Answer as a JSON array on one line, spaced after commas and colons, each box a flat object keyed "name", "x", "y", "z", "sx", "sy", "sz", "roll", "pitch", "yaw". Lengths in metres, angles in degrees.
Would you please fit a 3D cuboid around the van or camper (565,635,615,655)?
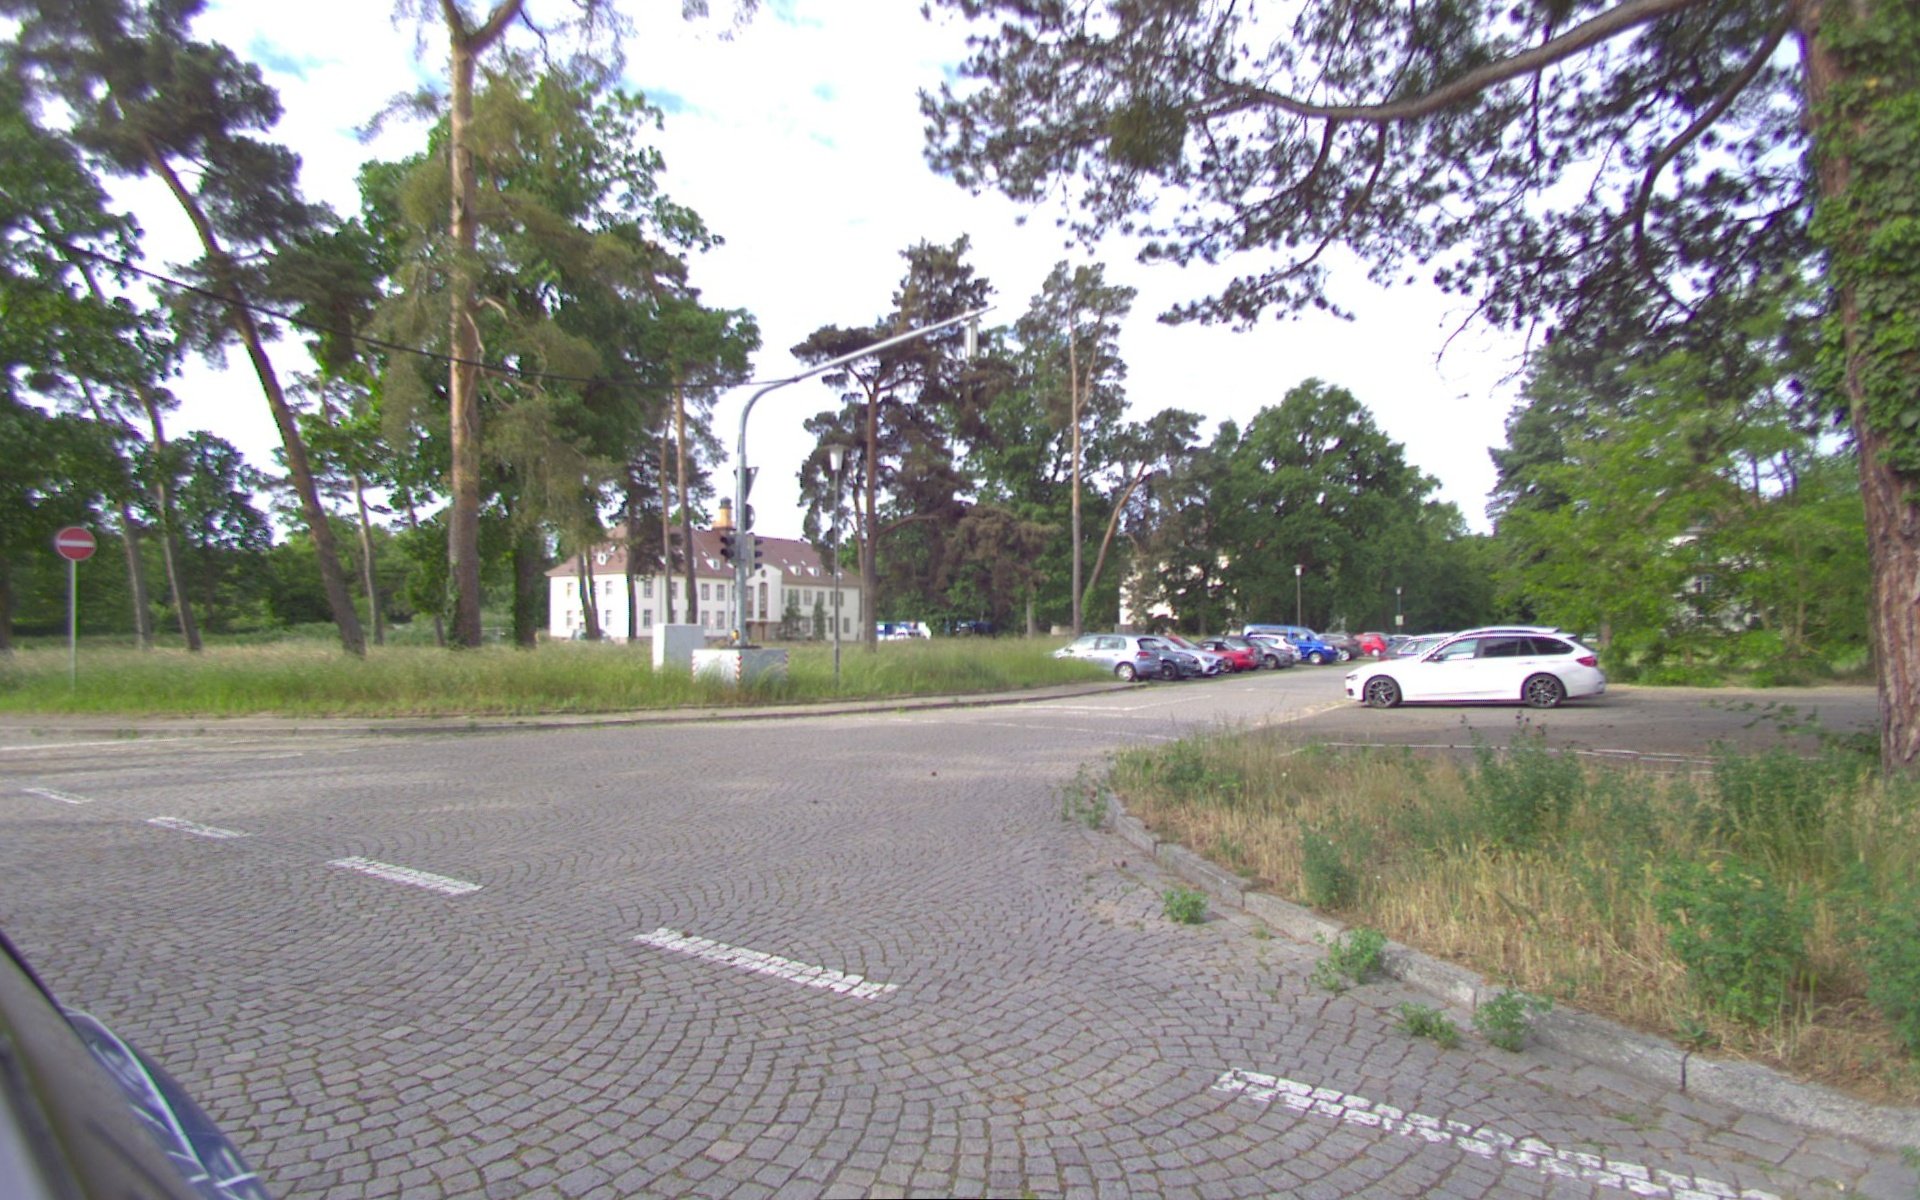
[{"name": "van or camper", "x": -45.089, "y": 5.453, "z": 123.271, "sx": 6.104, "sy": 2.324, "sz": 2.439, "roll": -1, "pitch": -2, "yaw": 31}]

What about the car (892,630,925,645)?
[{"name": "car", "x": -6.821, "y": 4.952, "z": 134.228, "sx": 2.159, "sy": 2.029, "sz": 4.784, "roll": -1, "pitch": -2, "yaw": 31}]

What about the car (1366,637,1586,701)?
[{"name": "car", "x": 12.534, "y": 1.620, "z": 24.731, "sx": 4.617, "sy": 1.433, "sz": 1.865, "roll": -1, "pitch": -2, "yaw": 30}]

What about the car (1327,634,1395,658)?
[{"name": "car", "x": 26.956, "y": 3.083, "z": 68.007, "sx": 3.984, "sy": 1.581, "sz": 1.980, "roll": -1, "pitch": -2, "yaw": 30}]

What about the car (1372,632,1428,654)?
[{"name": "car", "x": 34.913, "y": 3.396, "z": 80.276, "sx": 3.784, "sy": 1.637, "sz": 1.977, "roll": -1, "pitch": -2, "yaw": 35}]

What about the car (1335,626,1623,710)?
[{"name": "car", "x": 10.150, "y": 1.362, "z": 20.055, "sx": 4.803, "sy": 1.451, "sz": 1.893, "roll": -4, "pitch": -4, "yaw": 31}]

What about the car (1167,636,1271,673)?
[{"name": "car", "x": 10.925, "y": 2.258, "z": 42.812, "sx": 3.925, "sy": 1.487, "sz": 1.776, "roll": -1, "pitch": -2, "yaw": 34}]

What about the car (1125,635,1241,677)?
[{"name": "car", "x": 8.437, "y": 2.090, "z": 38.431, "sx": 3.927, "sy": 1.524, "sz": 1.775, "roll": -1, "pitch": -2, "yaw": 36}]

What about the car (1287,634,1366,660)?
[{"name": "car", "x": 21.499, "y": 2.741, "z": 59.420, "sx": 3.991, "sy": 1.516, "sz": 1.847, "roll": -1, "pitch": -2, "yaw": 35}]

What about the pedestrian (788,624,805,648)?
[{"name": "pedestrian", "x": -15.349, "y": 3.356, "z": 94.959, "sx": 1.181, "sy": 2.194, "sz": 1.044, "roll": -1, "pitch": -2, "yaw": 33}]

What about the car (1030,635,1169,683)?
[{"name": "car", "x": 4.382, "y": 1.822, "z": 31.944, "sx": 3.989, "sy": 1.429, "sz": 1.776, "roll": -1, "pitch": -2, "yaw": 34}]

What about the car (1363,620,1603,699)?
[{"name": "car", "x": 11.406, "y": 1.326, "z": 22.295, "sx": 4.468, "sy": 1.602, "sz": 1.829, "roll": -3, "pitch": -3, "yaw": 29}]

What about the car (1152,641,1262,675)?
[{"name": "car", "x": 9.844, "y": 2.286, "z": 40.404, "sx": 3.925, "sy": 1.244, "sz": 1.776, "roll": -1, "pitch": -2, "yaw": 34}]

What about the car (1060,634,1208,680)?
[{"name": "car", "x": 5.826, "y": 1.885, "z": 34.188, "sx": 4.620, "sy": 1.456, "sz": 1.776, "roll": -1, "pitch": -2, "yaw": 33}]

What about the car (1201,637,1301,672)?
[{"name": "car", "x": 12.847, "y": 2.386, "z": 44.736, "sx": 3.925, "sy": 1.446, "sz": 1.776, "roll": -1, "pitch": -2, "yaw": 33}]

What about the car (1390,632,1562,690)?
[{"name": "car", "x": 13.744, "y": 1.592, "z": 27.098, "sx": 3.969, "sy": 1.467, "sz": 1.664, "roll": -1, "pitch": -2, "yaw": 29}]

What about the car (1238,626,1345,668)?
[{"name": "car", "x": 16.949, "y": 2.376, "z": 51.849, "sx": 4.836, "sy": 2.029, "sz": 1.975, "roll": -1, "pitch": -2, "yaw": 37}]

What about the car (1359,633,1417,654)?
[{"name": "car", "x": 32.401, "y": 3.288, "z": 76.627, "sx": 3.784, "sy": 1.581, "sz": 1.977, "roll": -1, "pitch": -2, "yaw": 35}]

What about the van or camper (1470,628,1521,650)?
[{"name": "van or camper", "x": 63.283, "y": 4.597, "z": 119.631, "sx": 5.232, "sy": 2.482, "sz": 2.186, "roll": -1, "pitch": -2, "yaw": 31}]

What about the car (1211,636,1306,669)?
[{"name": "car", "x": 14.016, "y": 2.434, "z": 47.558, "sx": 3.925, "sy": 1.460, "sz": 1.776, "roll": -1, "pitch": -2, "yaw": 33}]

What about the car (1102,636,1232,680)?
[{"name": "car", "x": 7.406, "y": 2.041, "z": 36.365, "sx": 4.261, "sy": 1.456, "sz": 1.775, "roll": -1, "pitch": -2, "yaw": 36}]
